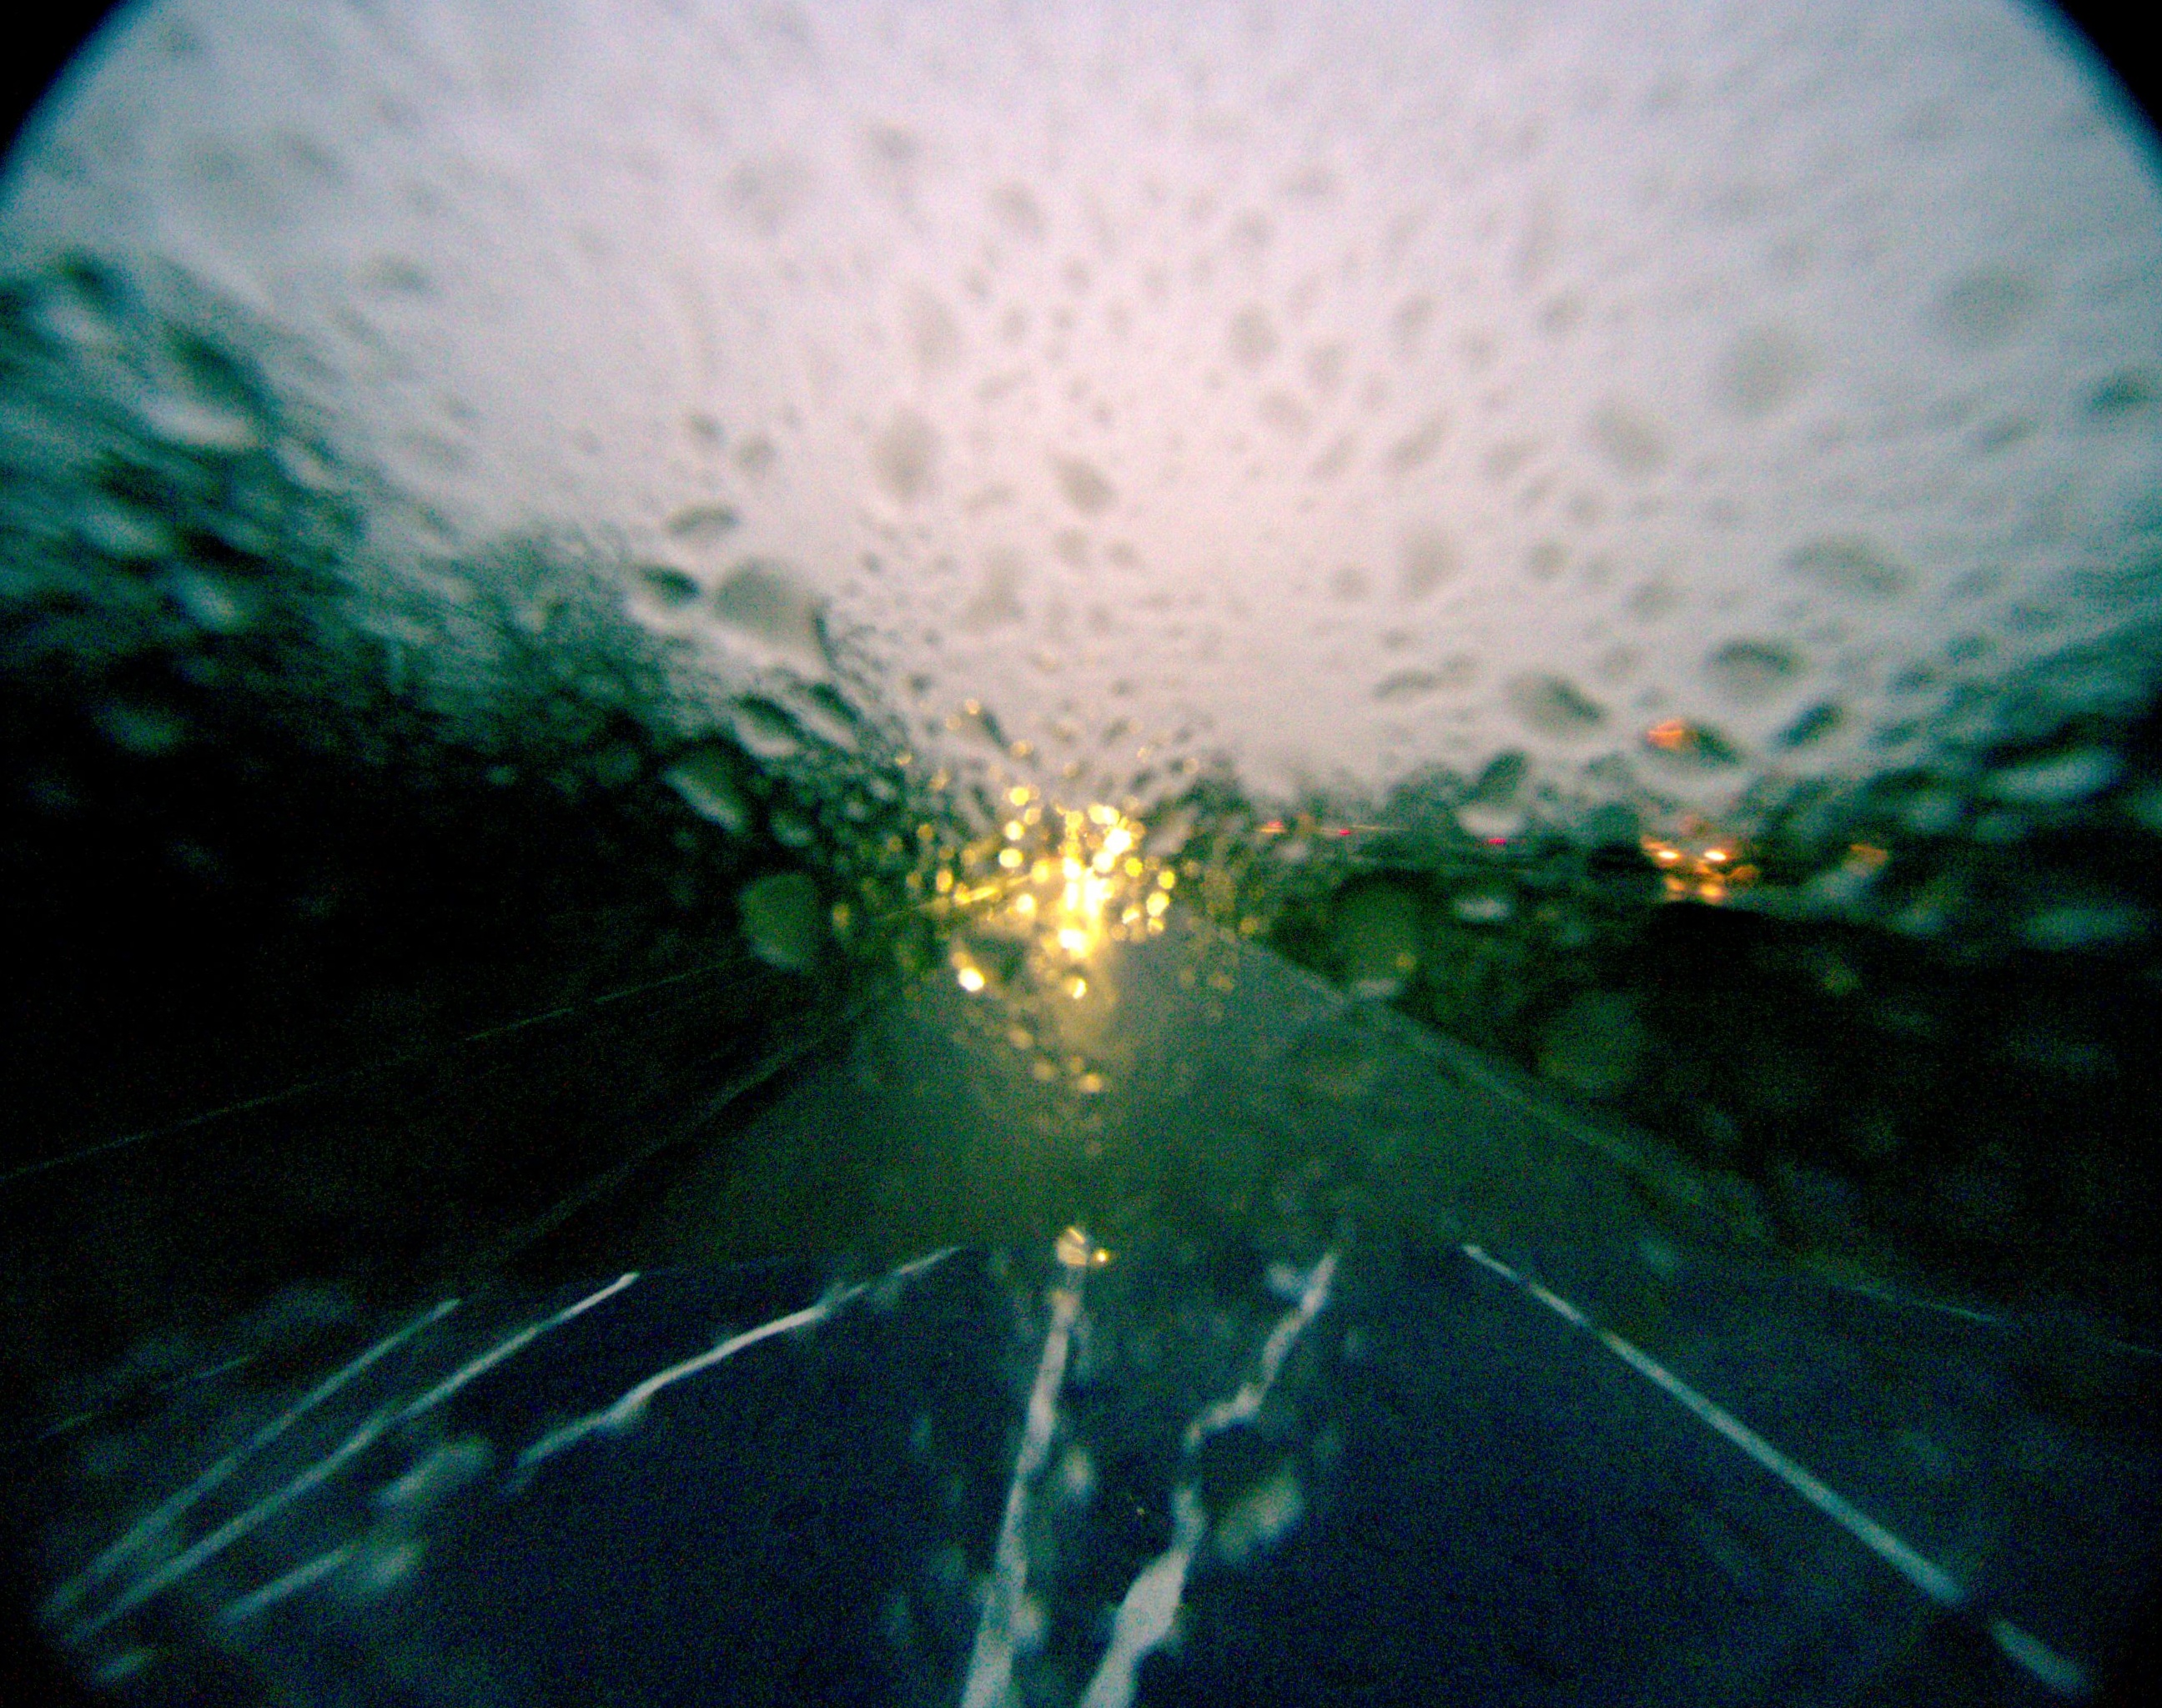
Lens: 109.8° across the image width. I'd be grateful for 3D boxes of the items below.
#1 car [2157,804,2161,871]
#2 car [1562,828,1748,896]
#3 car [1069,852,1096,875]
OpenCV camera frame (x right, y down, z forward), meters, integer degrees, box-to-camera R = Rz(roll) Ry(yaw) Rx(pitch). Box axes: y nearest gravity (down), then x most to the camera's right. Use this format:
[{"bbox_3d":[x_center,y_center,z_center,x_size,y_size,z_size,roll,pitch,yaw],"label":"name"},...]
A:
[{"bbox_3d":[32.725,-0.492,20.658,1.914,2.002,4.004,-2,0,16],"label":"car"},{"bbox_3d":[15.684,0.212,21.148,1.780,1.525,4.704,-5,-1,5],"label":"car"},{"bbox_3d":[0.106,0.640,54.917,1.841,1.553,3.867,-2,0,1],"label":"car"}]
